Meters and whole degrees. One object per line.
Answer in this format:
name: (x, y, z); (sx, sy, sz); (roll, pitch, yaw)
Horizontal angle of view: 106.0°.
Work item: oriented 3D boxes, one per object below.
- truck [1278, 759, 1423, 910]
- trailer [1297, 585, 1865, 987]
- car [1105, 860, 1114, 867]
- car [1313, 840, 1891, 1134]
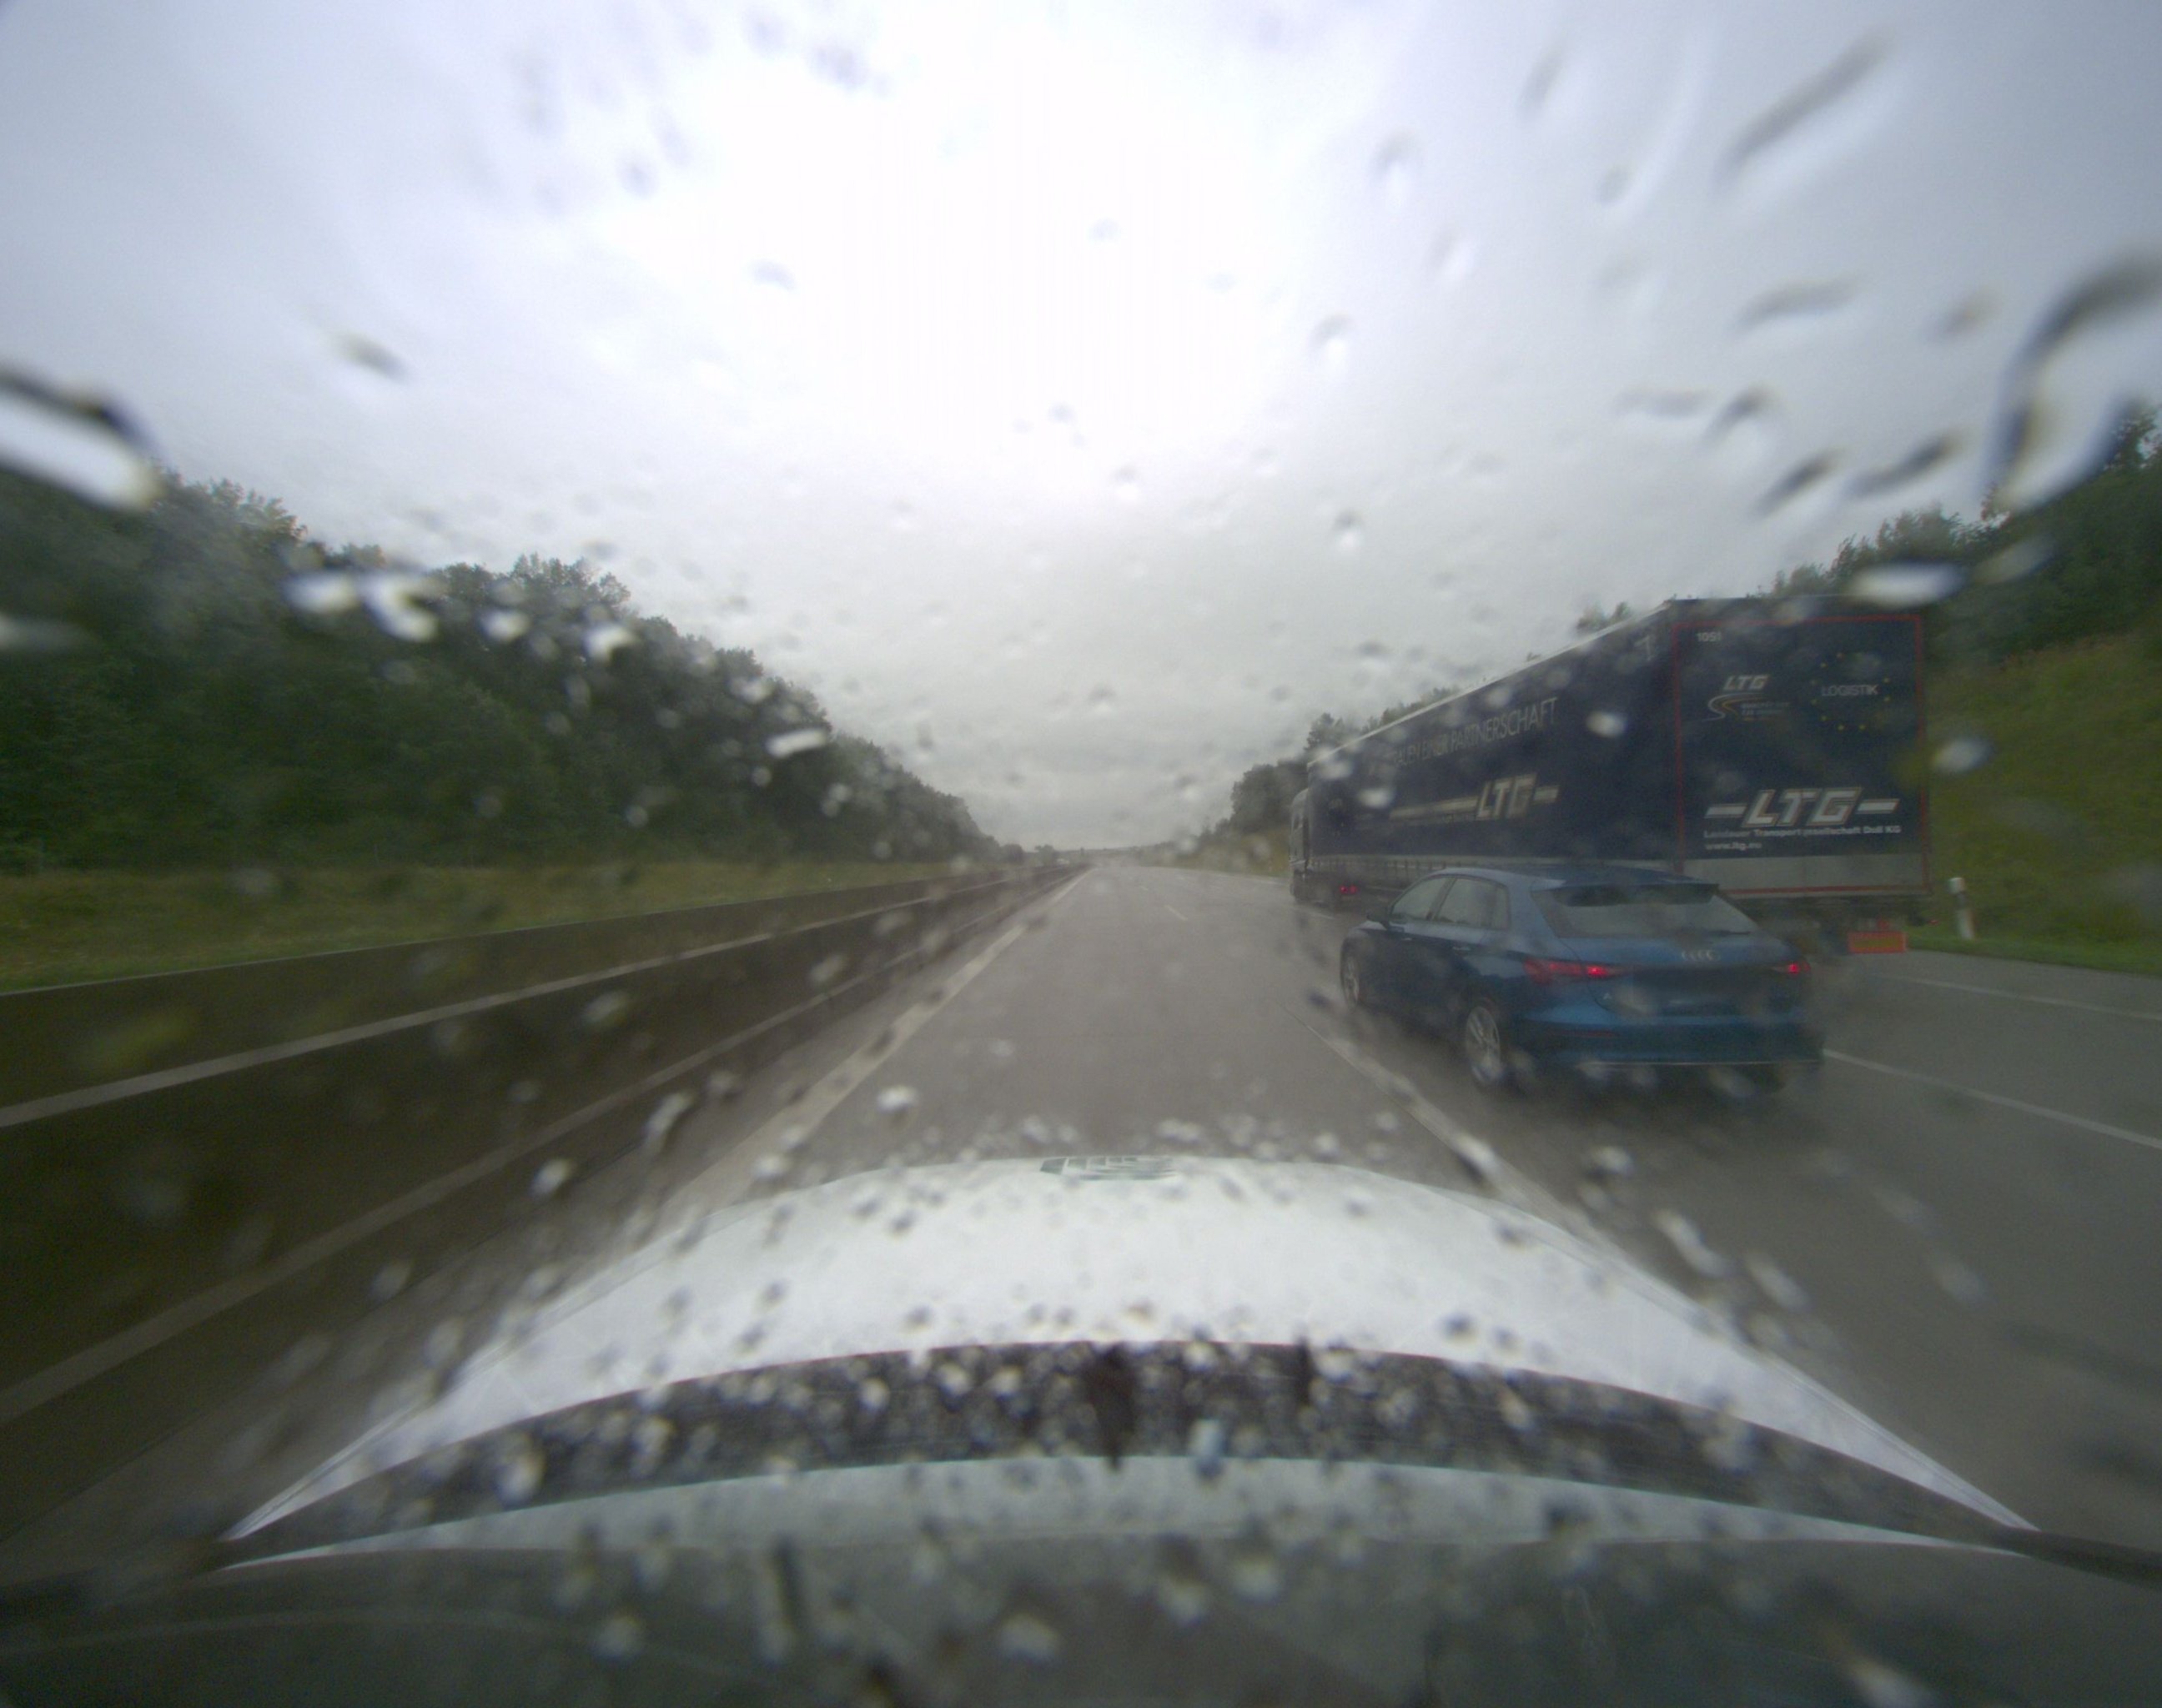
truck: (7.790, -0.504, 24.330); (2.626, 3.954, 5.689); (-1, 0, 3)
trailer: (7.471, -0.710, 16.516); (2.696, 4.379, 15.212); (-1, 0, 2)
car: (5.922, 2.021, 169.414); (1.723, 1.331, 4.431); (-1, 0, 2)
car: (3.354, 0.727, 6.553); (1.723, 1.459, 4.674); (-2, -1, 2)
